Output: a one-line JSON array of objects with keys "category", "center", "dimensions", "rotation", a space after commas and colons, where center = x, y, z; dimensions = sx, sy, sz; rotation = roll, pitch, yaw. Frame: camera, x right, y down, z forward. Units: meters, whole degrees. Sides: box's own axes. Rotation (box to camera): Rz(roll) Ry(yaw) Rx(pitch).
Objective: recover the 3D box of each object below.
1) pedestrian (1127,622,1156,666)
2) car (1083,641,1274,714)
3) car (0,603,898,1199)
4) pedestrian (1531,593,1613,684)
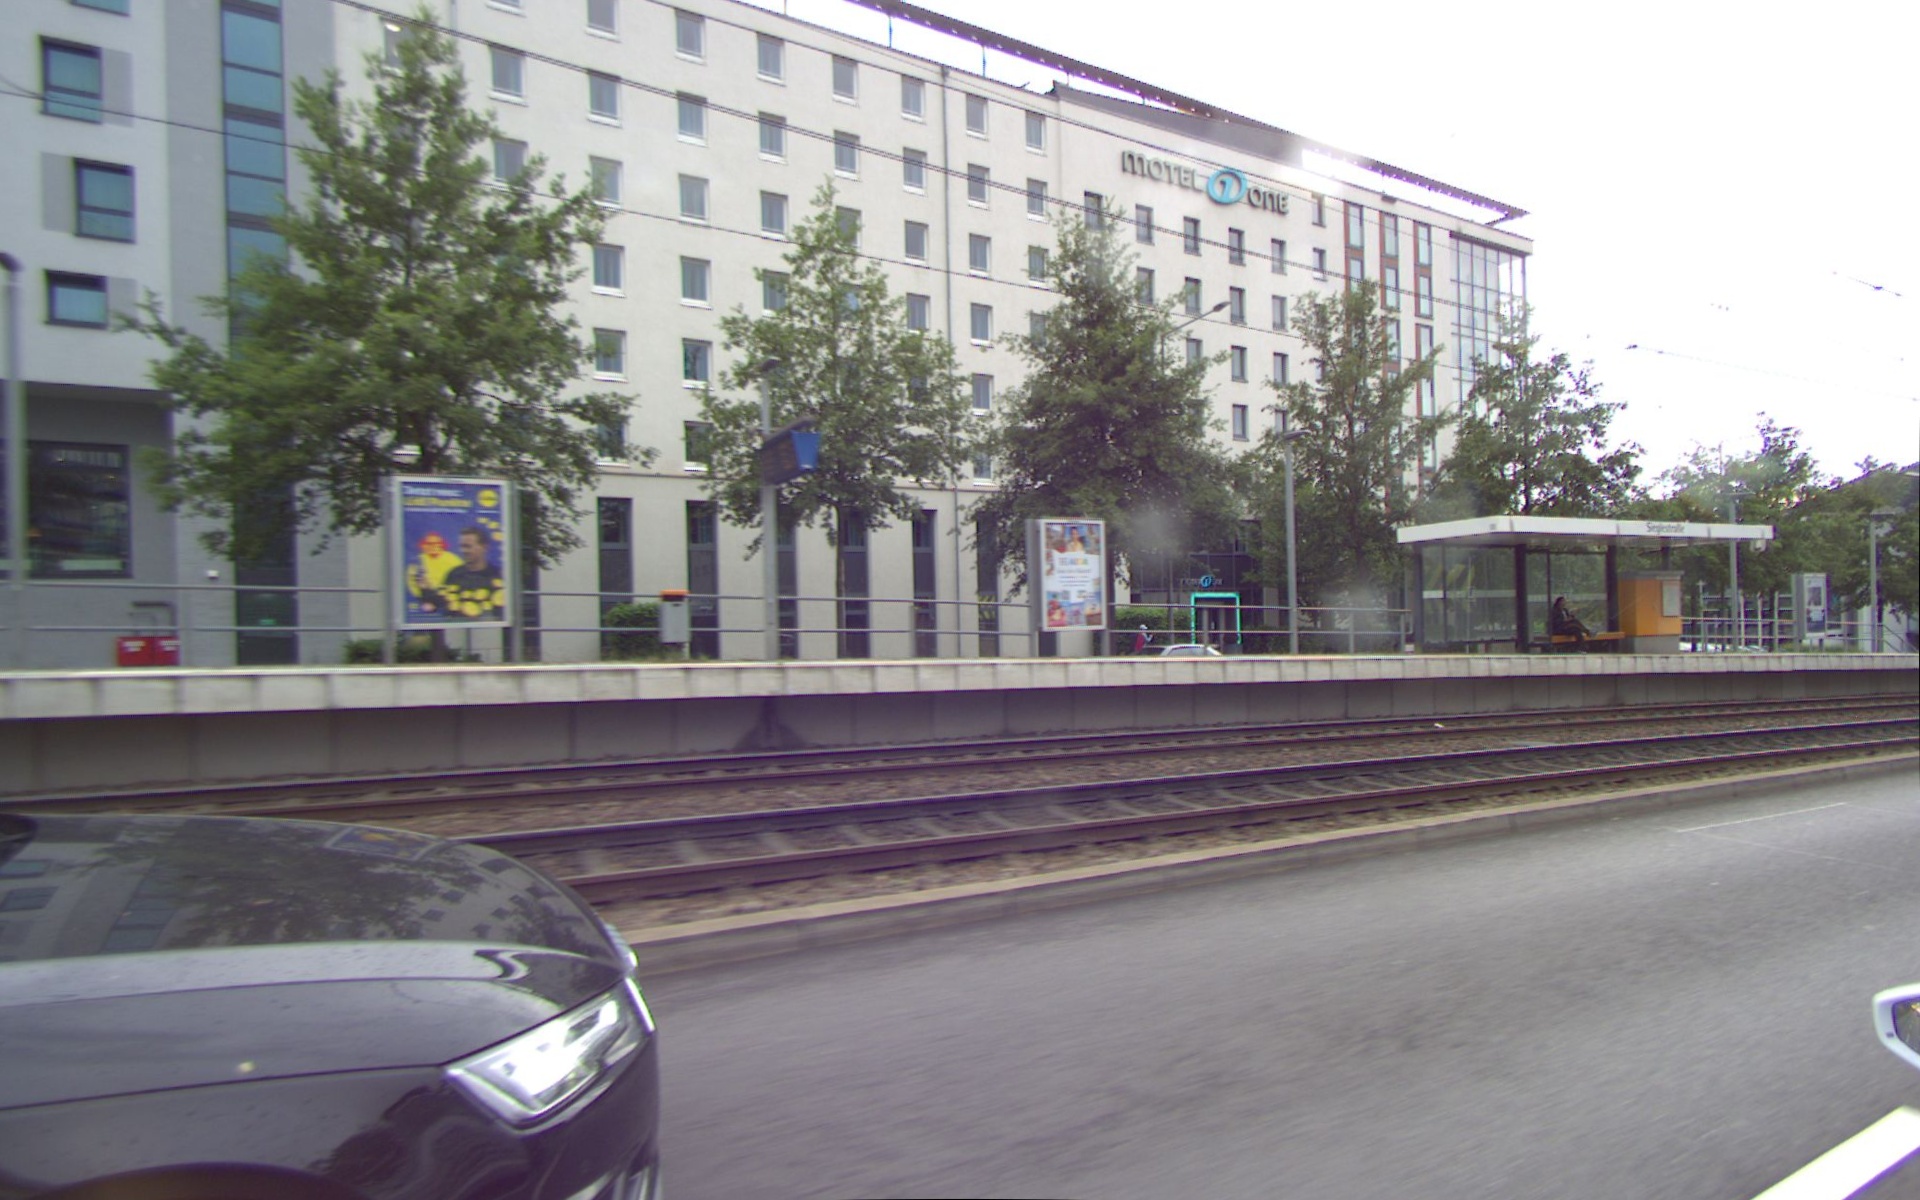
[{"category": "pedestrian", "center": [6.786, 1.640, 37.523], "dimensions": [0.825, 1.599, 0.597], "rotation": [2, 0, -30]}, {"category": "car", "center": [5.490, 1.863, 25.100], "dimensions": [4.602, 1.674, 1.887], "rotation": [1, -3, -29]}, {"category": "car", "center": [-2.618, 0.717, 1.388], "dimensions": [4.771, 1.453, 1.782], "rotation": [1, -1, -30]}, {"category": "pedestrian", "center": [14.185, 0.886, 23.293], "dimensions": [1.255, 2.040, 1.121], "rotation": [2, 0, -29]}]
